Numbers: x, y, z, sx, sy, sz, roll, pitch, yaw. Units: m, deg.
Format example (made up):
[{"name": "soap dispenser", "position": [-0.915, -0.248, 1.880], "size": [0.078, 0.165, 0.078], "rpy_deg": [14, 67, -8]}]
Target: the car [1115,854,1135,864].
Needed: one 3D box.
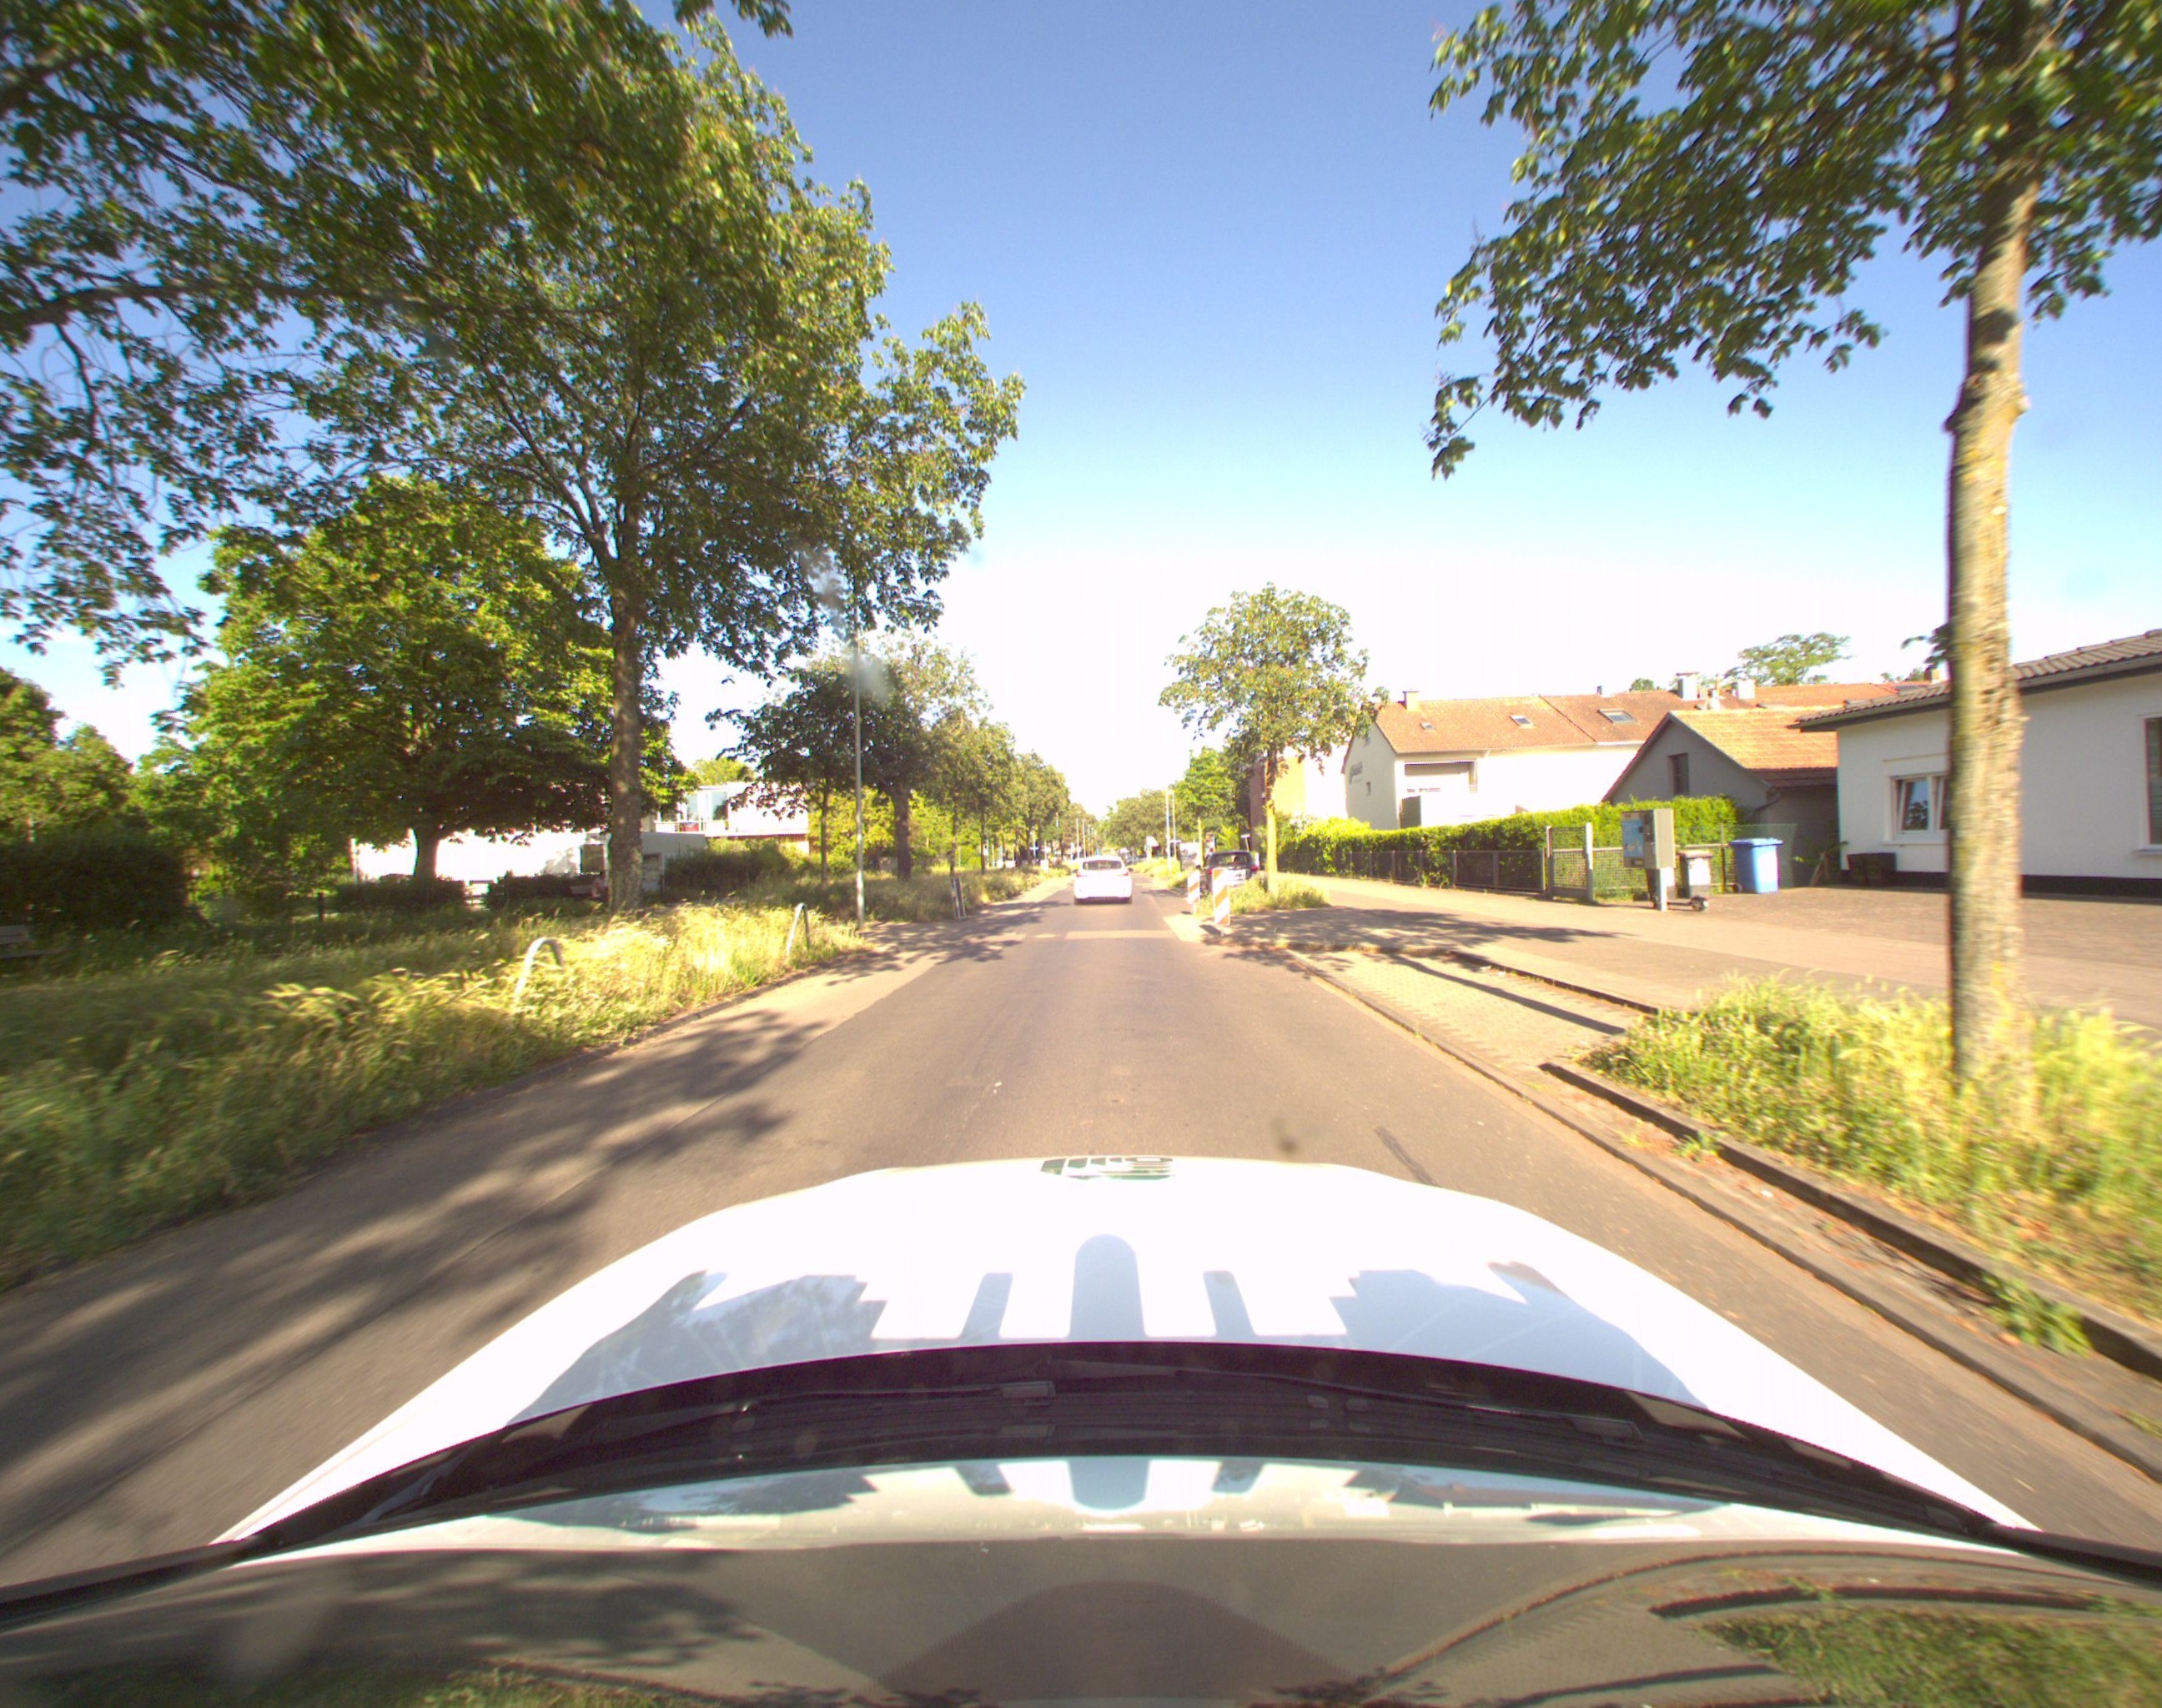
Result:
[{"name": "car", "position": [9.212, 0.976, 171.083], "size": [3.973, 2.013, 2.000], "rpy_deg": [-1, 0, 0]}]

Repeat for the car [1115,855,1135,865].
[{"name": "car", "position": [9.379, 1.178, 173.648], "size": [3.973, 2.013, 2.000], "rpy_deg": [-1, 0, 0]}]

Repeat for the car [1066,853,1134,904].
[{"name": "car", "position": [0.587, 0.730, 26.391], "size": [1.987, 1.455, 4.225], "rpy_deg": [-1, 0, 0]}]

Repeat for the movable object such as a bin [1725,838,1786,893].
[{"name": "movable object such as a bin", "position": [13.159, 0.221, 15.906], "size": [0.491, 1.032, 0.747], "rpy_deg": [-4, -1, 1]}]

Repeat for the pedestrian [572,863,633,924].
[{"name": "pedestrian", "position": [-14.843, 1.210, 25.337], "size": [1.227, 1.827, 1.543], "rpy_deg": [0, -1, -15]}]

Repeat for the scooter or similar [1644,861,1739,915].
[{"name": "scooter or similar", "position": [10.428, 0.555, 13.957], "size": [0.368, 0.858, 1.406], "rpy_deg": [-1, 0, -11]}]

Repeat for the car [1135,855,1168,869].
[{"name": "car", "position": [8.072, 0.967, 93.186], "size": [1.975, 1.508, 3.680], "rpy_deg": [1, 0, 41]}]

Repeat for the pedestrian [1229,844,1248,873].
[{"name": "pedestrian", "position": [11.165, 0.289, 57.704], "size": [1.108, 2.013, 0.922], "rpy_deg": [-1, 0, 2]}]

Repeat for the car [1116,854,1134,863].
[{"name": "car", "position": [9.521, 0.986, 176.374], "size": [3.973, 2.013, 2.000], "rpy_deg": [-1, 0, 0]}]

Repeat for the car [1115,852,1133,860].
[{"name": "car", "position": [9.767, 0.559, 186.558], "size": [3.975, 1.750, 1.999], "rpy_deg": [-1, 0, -1]}]

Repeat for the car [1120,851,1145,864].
[{"name": "car", "position": [8.550, 0.557, 134.329], "size": [3.973, 2.013, 2.000], "rpy_deg": [-1, 0, 0]}]

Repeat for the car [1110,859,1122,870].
[{"name": "car", "position": [5.278, 1.590, 123.814], "size": [1.810, 1.508, 3.660], "rpy_deg": [1, 0, 2]}]

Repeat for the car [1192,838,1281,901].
[{"name": "car", "position": [4.858, 0.487, 26.046], "size": [1.987, 1.728, 3.999], "rpy_deg": [-3, -1, 0]}]
